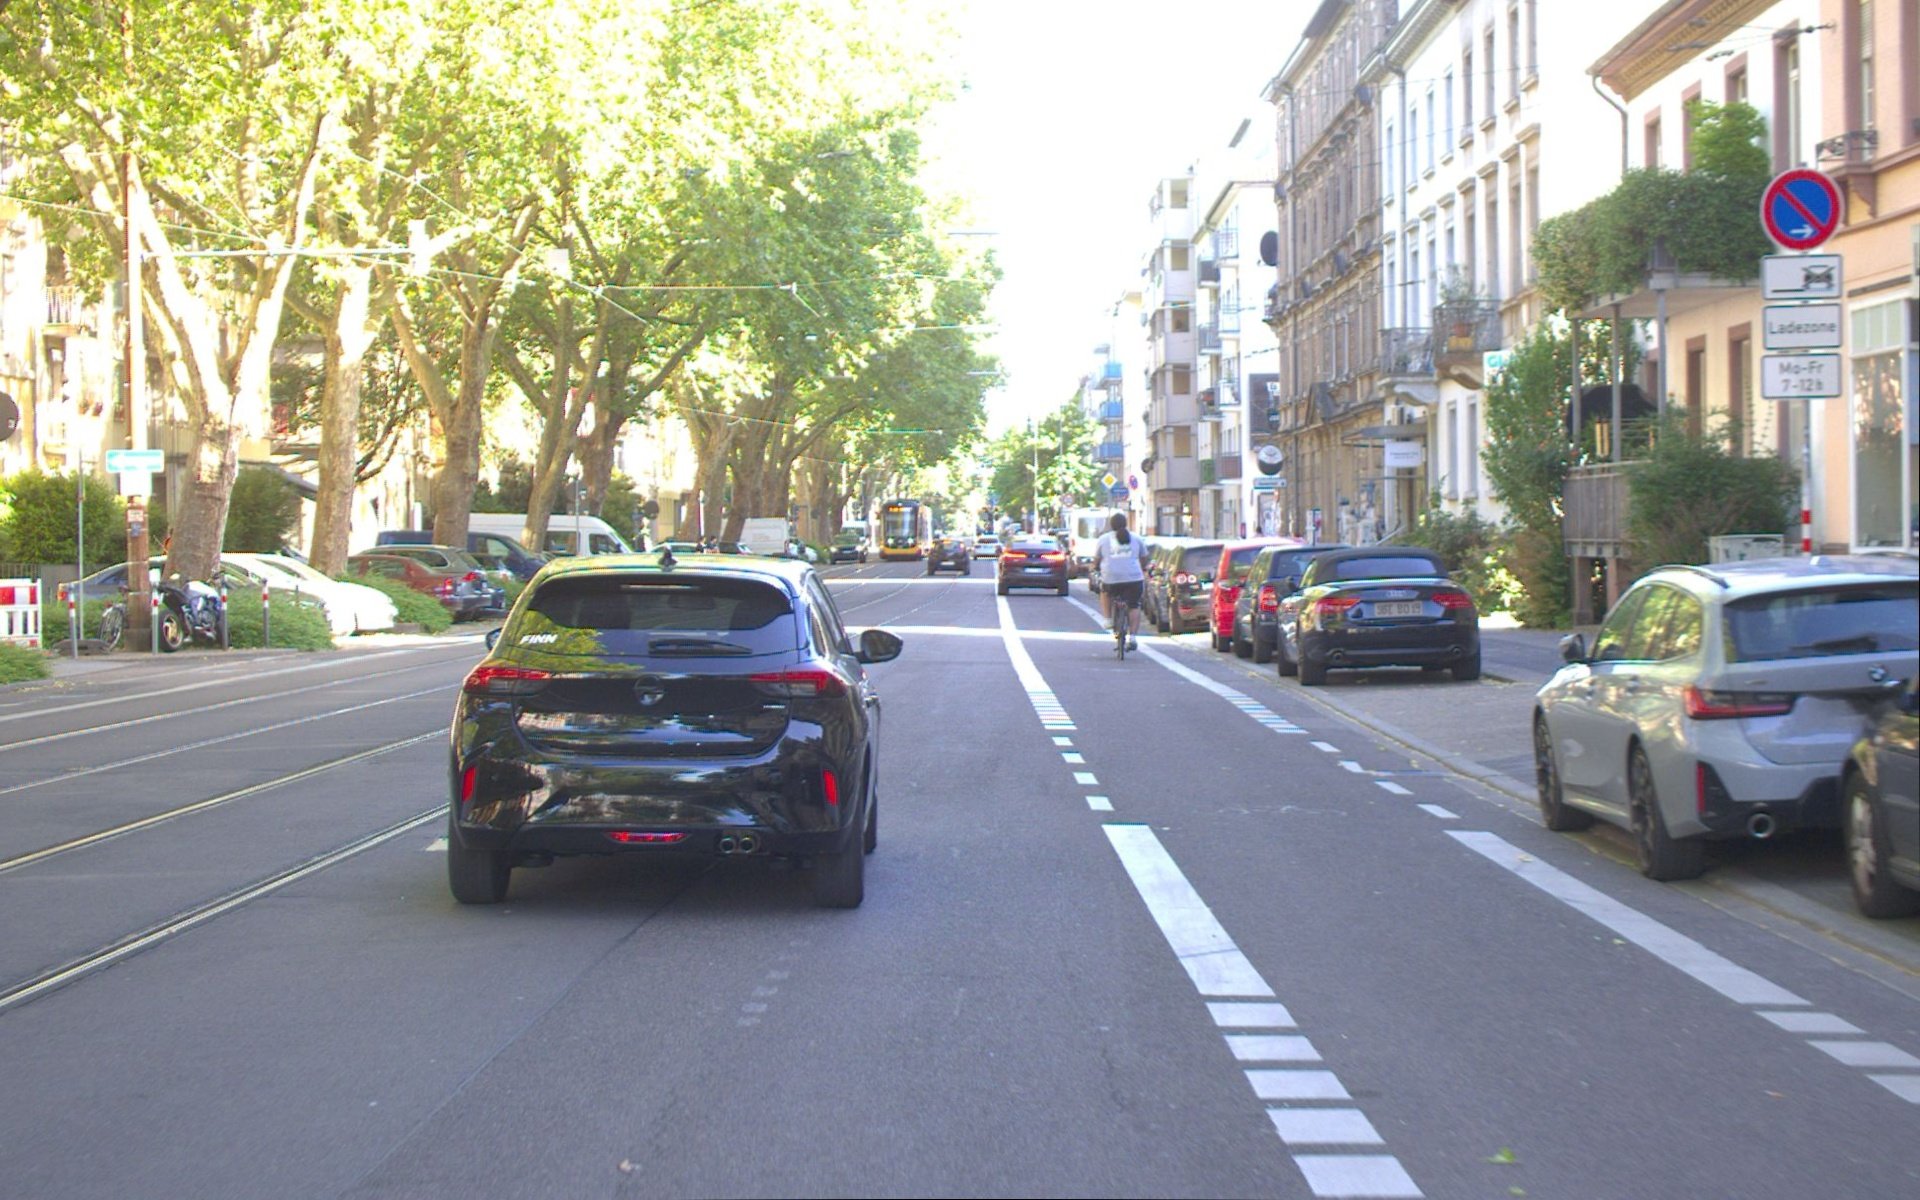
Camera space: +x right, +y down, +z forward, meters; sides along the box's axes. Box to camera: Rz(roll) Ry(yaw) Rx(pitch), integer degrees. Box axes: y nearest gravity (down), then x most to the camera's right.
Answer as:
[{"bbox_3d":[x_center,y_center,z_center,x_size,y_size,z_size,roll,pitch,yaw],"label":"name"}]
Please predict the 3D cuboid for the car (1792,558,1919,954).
[{"bbox_3d":[4.304,0.542,12.445,1.645,1.429,4.029,-4,1,2],"label":"car"}]

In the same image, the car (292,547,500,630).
[{"bbox_3d":[-11.769,-0.252,71.889,3.995,1.621,1.879,1,0,1],"label":"car"}]

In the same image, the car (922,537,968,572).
[{"bbox_3d":[-0.576,-1.793,135.925,1.810,1.334,3.933,0,1,0],"label":"car"}]

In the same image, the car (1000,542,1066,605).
[{"bbox_3d":[2.090,-0.752,97.399,1.810,1.736,3.933,0,1,2],"label":"car"}]

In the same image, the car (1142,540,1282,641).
[{"bbox_3d":[4.332,-0.172,59.643,1.880,1.580,3.933,-4,1,-3],"label":"car"}]

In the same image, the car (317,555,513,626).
[{"bbox_3d":[-11.753,-0.208,74.295,3.920,1.417,1.819,1,0,-1],"label":"car"}]

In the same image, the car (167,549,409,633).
[{"bbox_3d":[-11.909,-0.170,61.092,3.920,1.457,1.805,0,0,1],"label":"car"}]

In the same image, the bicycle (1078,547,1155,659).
[{"bbox_3d":[2.006,0.023,44.371,0.860,1.402,2.524,0,1,-1],"label":"bicycle"}]

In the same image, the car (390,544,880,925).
[{"bbox_3d":[-1.300,0.492,15.062,1.794,1.436,3.531,0,1,0],"label":"car"}]

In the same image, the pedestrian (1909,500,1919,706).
[{"bbox_3d":[7.308,0.017,24.781,0.660,1.500,0.866,-1,1,0],"label":"pedestrian"}]

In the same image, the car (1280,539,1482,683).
[{"bbox_3d":[4.394,0.085,36.452,1.694,1.388,4.494,-1,1,2],"label":"car"}]

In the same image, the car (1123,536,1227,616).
[{"bbox_3d":[4.294,-0.496,69.042,1.880,1.451,4.025,-4,1,2],"label":"car"}]

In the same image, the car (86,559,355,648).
[{"bbox_3d":[-11.952,0.043,55.714,3.920,1.327,1.847,1,0,1],"label":"car"}]

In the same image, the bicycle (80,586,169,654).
[{"bbox_3d":[-12.112,0.283,49.882,0.541,0.937,2.033,0,1,8],"label":"bicycle"}]

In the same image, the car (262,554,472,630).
[{"bbox_3d":[-11.997,-0.162,69.693,3.920,1.437,1.749,1,0,1],"label":"car"}]

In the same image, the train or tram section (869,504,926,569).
[{"bbox_3d":[-3.612,-3.695,202.239,2.735,3.669,12.716,-1,1,2],"label":"train or tram section"}]

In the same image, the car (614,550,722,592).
[{"bbox_3d":[-11.010,-1.092,129.758,3.919,1.493,1.677,1,0,-2],"label":"car"}]

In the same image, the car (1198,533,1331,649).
[{"bbox_3d":[4.251,-0.141,48.405,1.634,1.541,3.576,-1,1,2],"label":"car"}]

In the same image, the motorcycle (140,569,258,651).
[{"bbox_3d":[-11.014,0.131,49.846,0.884,1.143,2.390,0,1,8],"label":"motorcycle"}]

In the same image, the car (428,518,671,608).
[{"bbox_3d":[-11.761,-1.065,98.816,6.628,2.401,2.458,1,0,1],"label":"car"}]

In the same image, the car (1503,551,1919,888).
[{"bbox_3d":[4.013,0.489,17.288,1.809,1.430,4.665,-1,1,0],"label":"car"}]

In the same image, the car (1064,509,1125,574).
[{"bbox_3d":[4.927,-2.129,126.335,2.075,2.211,4.933,-4,1,2],"label":"car"}]

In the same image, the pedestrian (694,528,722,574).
[{"bbox_3d":[-8.652,-1.689,117.864,0.766,1.561,0.681,0,1,-23],"label":"pedestrian"}]

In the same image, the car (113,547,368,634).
[{"bbox_3d":[-12.160,-0.164,58.244,3.921,1.448,1.800,0,0,1],"label":"car"}]

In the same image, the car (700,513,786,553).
[{"bbox_3d":[-10.096,-3.119,160.203,3.919,1.784,1.677,1,0,-2],"label":"car"}]

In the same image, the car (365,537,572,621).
[{"bbox_3d":[-11.936,-0.523,83.650,4.675,1.917,1.980,1,0,2],"label":"car"}]

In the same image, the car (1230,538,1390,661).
[{"bbox_3d":[4.397,-0.031,43.657,1.651,1.451,3.868,-1,1,1],"label":"car"}]

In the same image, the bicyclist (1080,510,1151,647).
[{"bbox_3d":[2.007,-0.281,44.406,0.848,1.734,1.162,0,1,0],"label":"bicyclist"}]

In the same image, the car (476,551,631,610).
[{"bbox_3d":[-10.988,-0.524,93.091,3.920,1.493,1.677,1,0,2],"label":"car"}]

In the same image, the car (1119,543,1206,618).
[{"bbox_3d":[4.387,-0.439,74.951,1.710,1.478,3.764,-4,1,2],"label":"car"}]

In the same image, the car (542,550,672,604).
[{"bbox_3d":[-11.072,-0.727,107.902,3.919,1.572,1.677,1,0,-2],"label":"car"}]
